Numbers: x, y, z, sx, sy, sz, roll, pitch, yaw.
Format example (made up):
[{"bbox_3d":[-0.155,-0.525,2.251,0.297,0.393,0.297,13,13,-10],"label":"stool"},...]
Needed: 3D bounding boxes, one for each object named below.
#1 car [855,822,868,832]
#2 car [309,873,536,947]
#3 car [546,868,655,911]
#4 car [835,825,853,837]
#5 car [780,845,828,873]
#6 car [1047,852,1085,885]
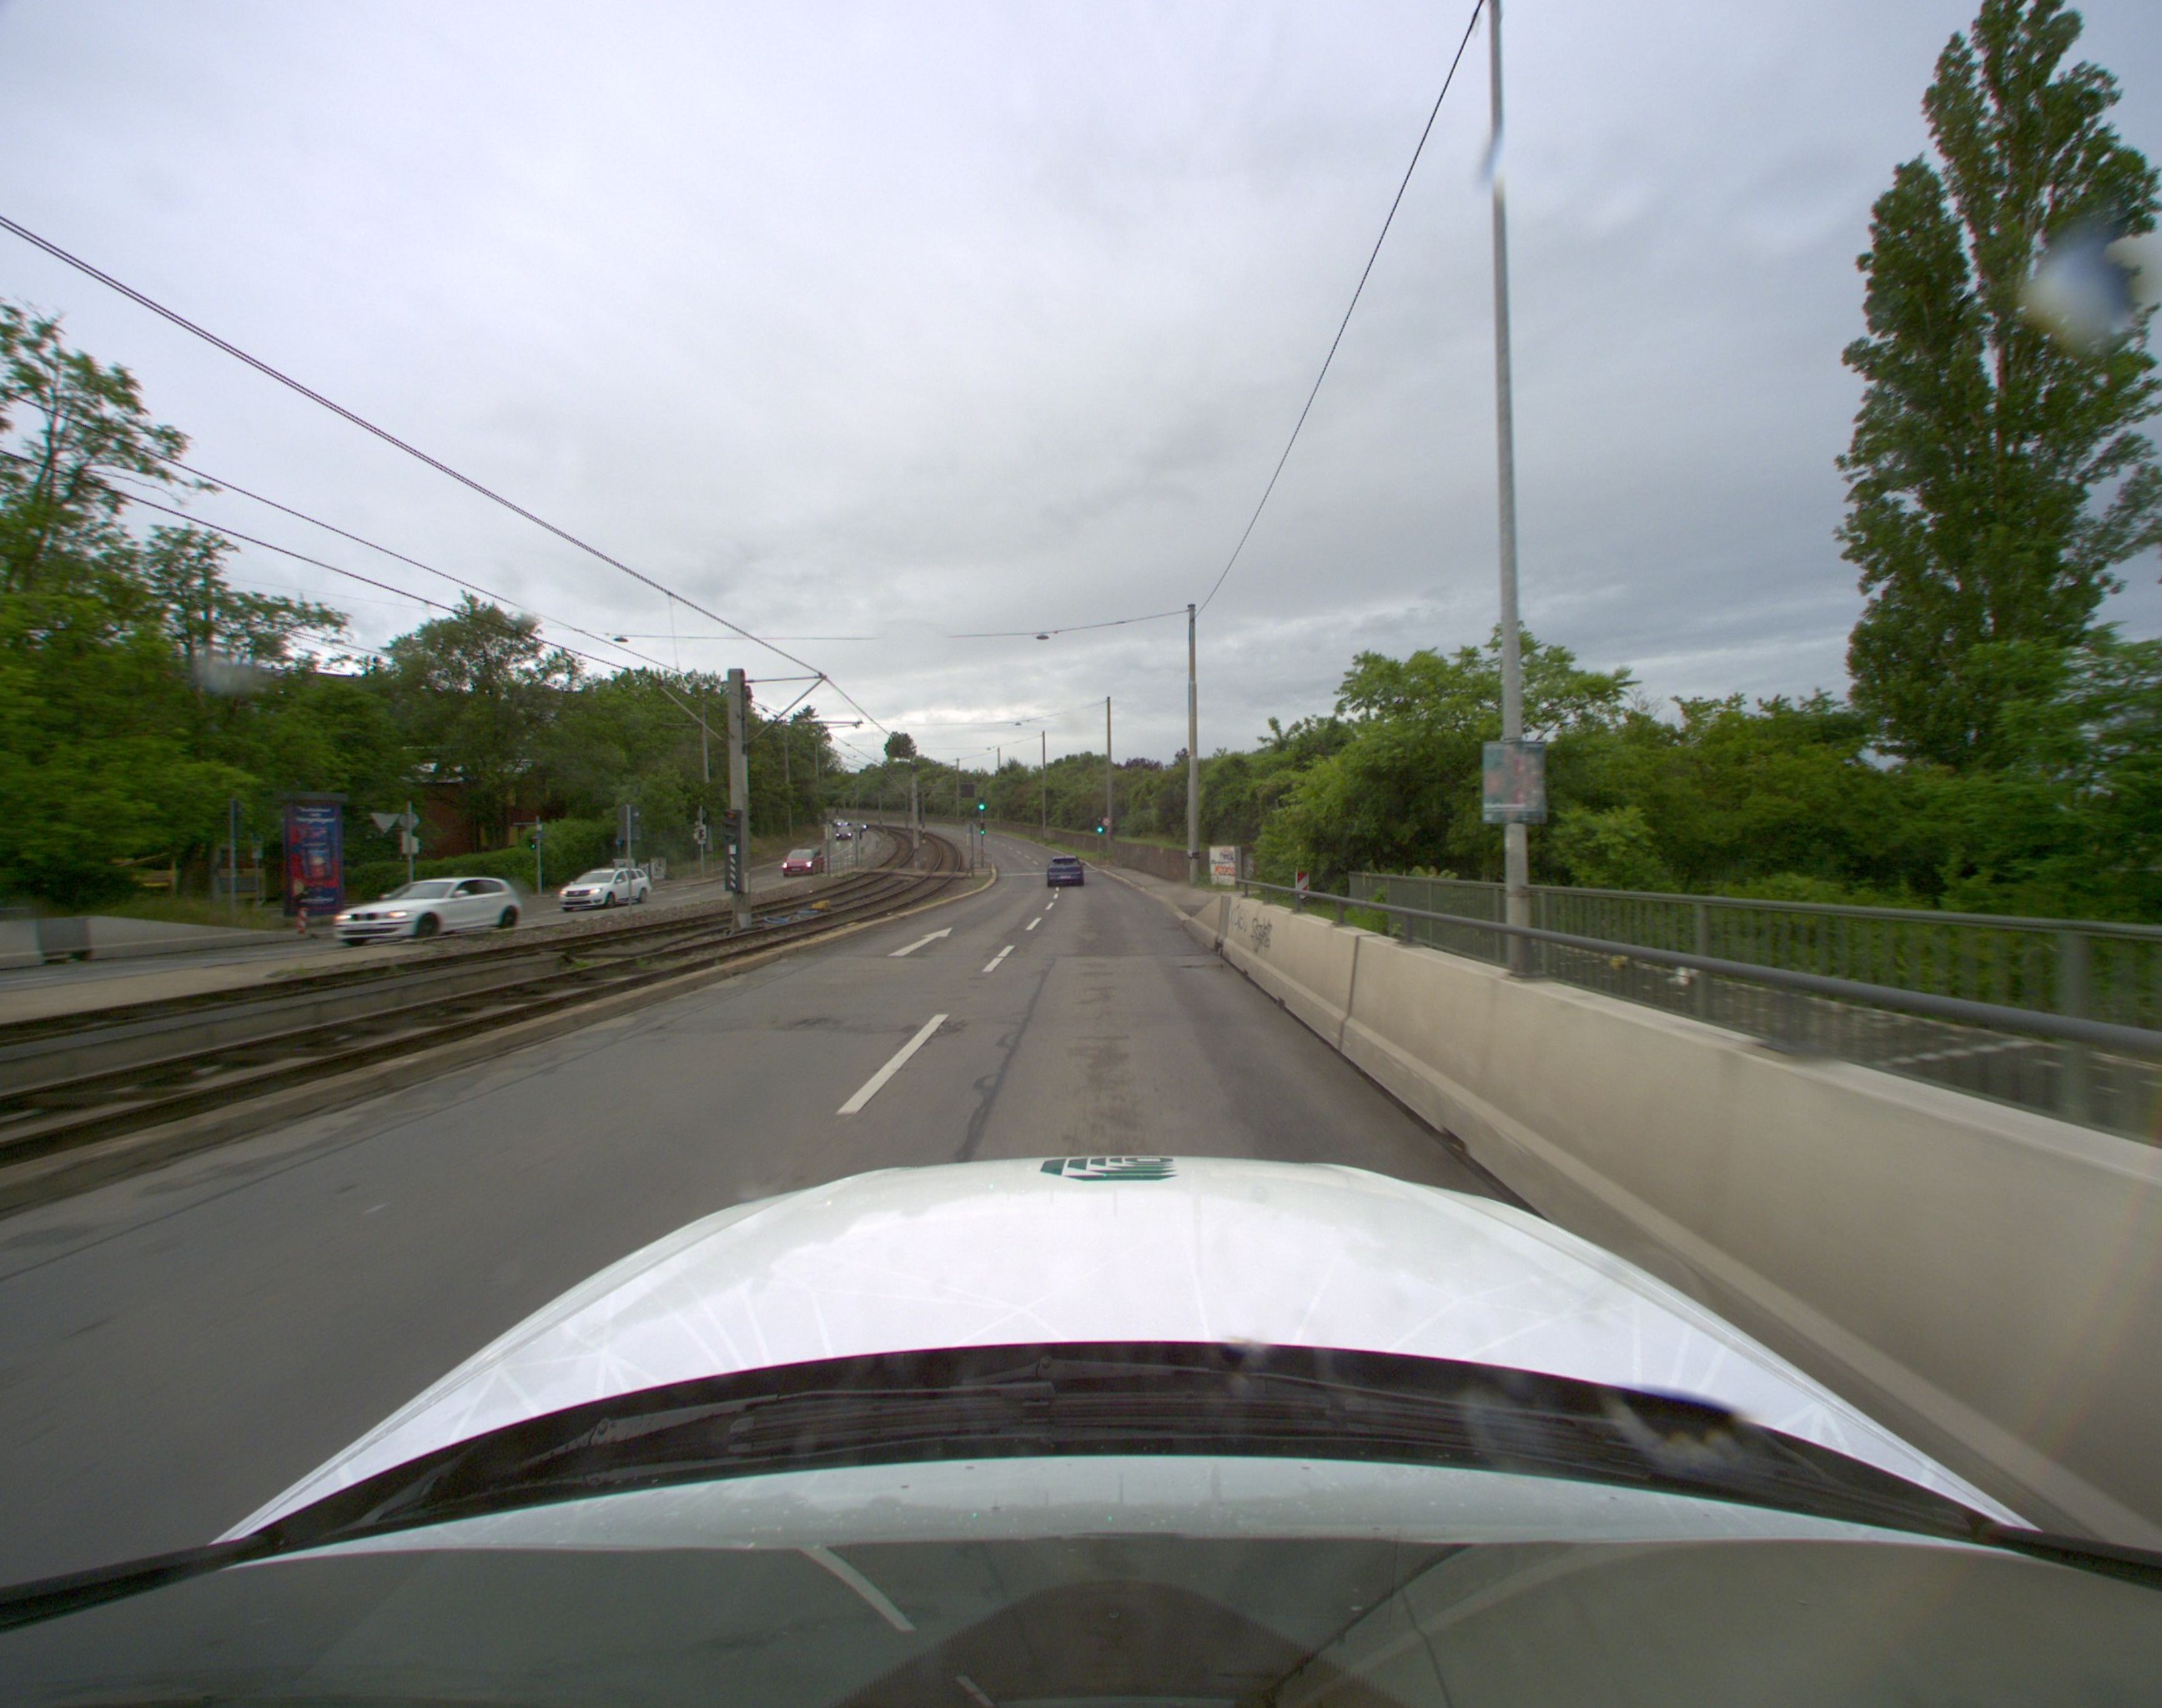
[{"bbox_3d":[-34.612,-4.259,128.183,1.638,1.384,3.871,-4,3,-19],"label":"car"},{"bbox_3d":[-15.435,1.234,19.475,1.724,1.437,4.490,-3,-1,0],"label":"car"},{"bbox_3d":[-18.945,1.354,32.361,1.817,1.515,4.523,-2,0,-4],"label":"car"},{"bbox_3d":[-29.694,-2.900,102.099,1.717,1.458,4.260,-3,3,-11],"label":"car"},{"bbox_3d":[-17.295,0.268,50.997,1.846,1.597,4.721,-3,1,-7],"label":"car"},{"bbox_3d":[-0.699,0.691,40.182,1.757,1.501,4.000,0,0,1],"label":"car"}]
